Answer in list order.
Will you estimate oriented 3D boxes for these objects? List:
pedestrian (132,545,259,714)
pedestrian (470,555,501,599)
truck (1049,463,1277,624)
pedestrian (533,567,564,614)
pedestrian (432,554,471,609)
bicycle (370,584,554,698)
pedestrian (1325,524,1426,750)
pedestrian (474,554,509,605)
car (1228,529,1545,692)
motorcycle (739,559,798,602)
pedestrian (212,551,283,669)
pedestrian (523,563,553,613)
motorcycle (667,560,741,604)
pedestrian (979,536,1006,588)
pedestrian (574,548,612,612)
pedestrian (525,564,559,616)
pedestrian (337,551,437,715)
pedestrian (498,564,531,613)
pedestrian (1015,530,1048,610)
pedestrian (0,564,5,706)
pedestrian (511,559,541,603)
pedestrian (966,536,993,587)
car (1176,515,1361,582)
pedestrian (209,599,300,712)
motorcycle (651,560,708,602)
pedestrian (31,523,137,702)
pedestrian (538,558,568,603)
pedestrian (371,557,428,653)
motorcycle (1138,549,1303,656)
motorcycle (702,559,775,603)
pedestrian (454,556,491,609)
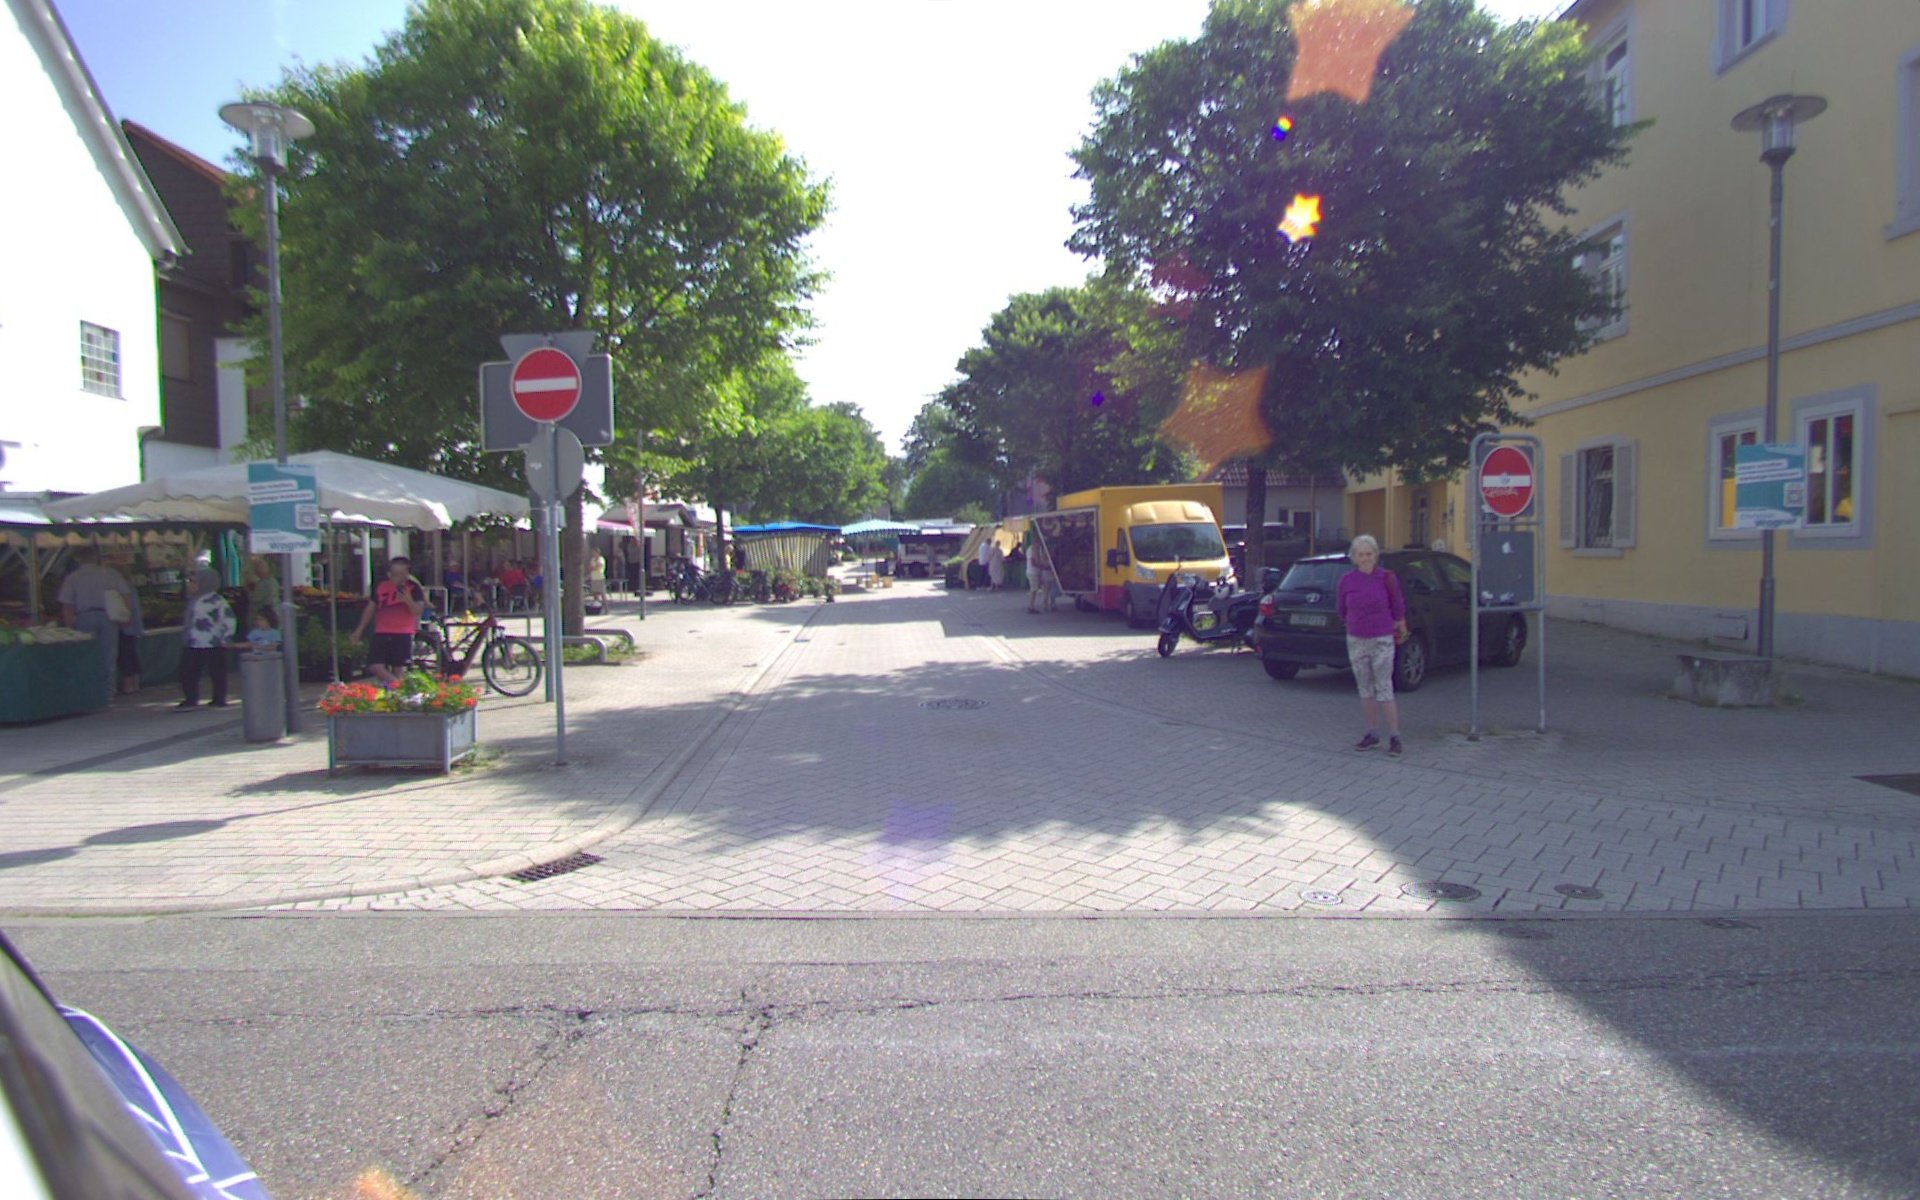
[{"bbox_3d":[-8.162,0.298,10.838,0.699,1.736,0.786,-1,1,8],"label":"pedestrian"},{"bbox_3d":[-13.344,-0.648,28.457,0.564,1.210,0.651,1,3,0],"label":"pedestrian"},{"bbox_3d":[4.030,-1.253,22.511,2.967,2.778,8.867,-2,3,-2],"label":"truck"},{"bbox_3d":[-10.924,-0.267,26.896,0.564,1.210,0.651,1,3,0],"label":"pedestrian"},{"bbox_3d":[-12.751,-0.469,25.406,0.618,1.340,0.699,1,3,2],"label":"pedestrian"},{"bbox_3d":[-5.864,0.458,12.014,1.831,1.244,0.619,-2,2,-14],"label":"bicycle"},{"bbox_3d":[3.354,0.274,8.154,0.677,1.727,0.611,0,3,29],"label":"pedestrian"},{"bbox_3d":[-12.671,-0.560,27.380,0.618,1.340,0.699,1,3,2],"label":"pedestrian"},{"bbox_3d":[5.188,-0.004,12.112,3.897,1.554,1.927,-5,4,-40],"label":"car"},{"bbox_3d":[-5.799,-0.597,30.573,2.005,1.204,0.635,3,3,41],"label":"motorcycle"},{"bbox_3d":[-10.218,0.131,14.534,0.514,1.639,0.708,-1,1,-5],"label":"pedestrian"},{"bbox_3d":[-10.467,-0.308,25.130,0.563,1.210,0.652,1,3,-11],"label":"pedestrian"},{"bbox_3d":[-7.356,-0.532,29.115,1.985,1.204,0.641,2,3,13],"label":"motorcycle"},{"bbox_3d":[1.073,-1.260,33.507,0.670,1.694,0.585,-3,3,-18],"label":"pedestrian"},{"bbox_3d":[-9.109,-0.511,25.127,0.690,1.565,0.571,2,3,5],"label":"pedestrian"},{"bbox_3d":[-10.036,-0.239,24.299,0.687,1.210,0.574,1,3,-15],"label":"pedestrian"},{"bbox_3d":[-6.050,0.328,10.727,0.868,1.670,0.574,0,3,-24],"label":"pedestrian"},{"bbox_3d":[-11.367,-0.307,25.830,0.564,1.210,0.651,1,3,0],"label":"pedestrian"},{"bbox_3d":[1.680,-0.705,23.611,0.673,1.799,0.726,-3,3,5],"label":"pedestrian"},{"bbox_3d":[-11.910,0.289,11.980,0.505,1.985,0.701,0,2,25],"label":"pedestrian"},{"bbox_3d":[-12.265,-0.553,28.629,0.564,1.210,0.651,1,3,0],"label":"pedestrian"},{"bbox_3d":[0.670,-1.295,34.304,0.670,1.694,0.585,-3,2,-17],"label":"pedestrian"},{"bbox_3d":[9.381,-1.554,30.973,4.995,1.905,2.003,-1,1,-5],"label":"car"},{"bbox_3d":[-7.636,0.584,10.975,0.510,1.169,0.621,-1,1,5],"label":"pedestrian"},{"bbox_3d":[-8.356,-0.577,30.172,1.511,1.204,0.644,2,2,-1],"label":"motorcycle"},{"bbox_3d":[-10.097,0.125,11.690,0.695,2.000,0.655,-1,1,-22],"label":"pedestrian"},{"bbox_3d":[-11.094,-0.541,27.620,0.564,1.210,0.651,1,3,0],"label":"pedestrian"},{"bbox_3d":[-9.142,0.073,16.528,0.612,1.529,0.634,-1,1,-9],"label":"pedestrian"},{"bbox_3d":[3.705,0.025,14.526,2.057,1.371,0.889,-3,2,-2],"label":"motorcycle"},{"bbox_3d":[-6.502,-0.571,29.702,1.985,1.204,0.641,2,2,13],"label":"motorcycle"},{"bbox_3d":[-12.682,-0.452,26.330,0.618,1.340,0.699,1,3,2],"label":"pedestrian"}]
